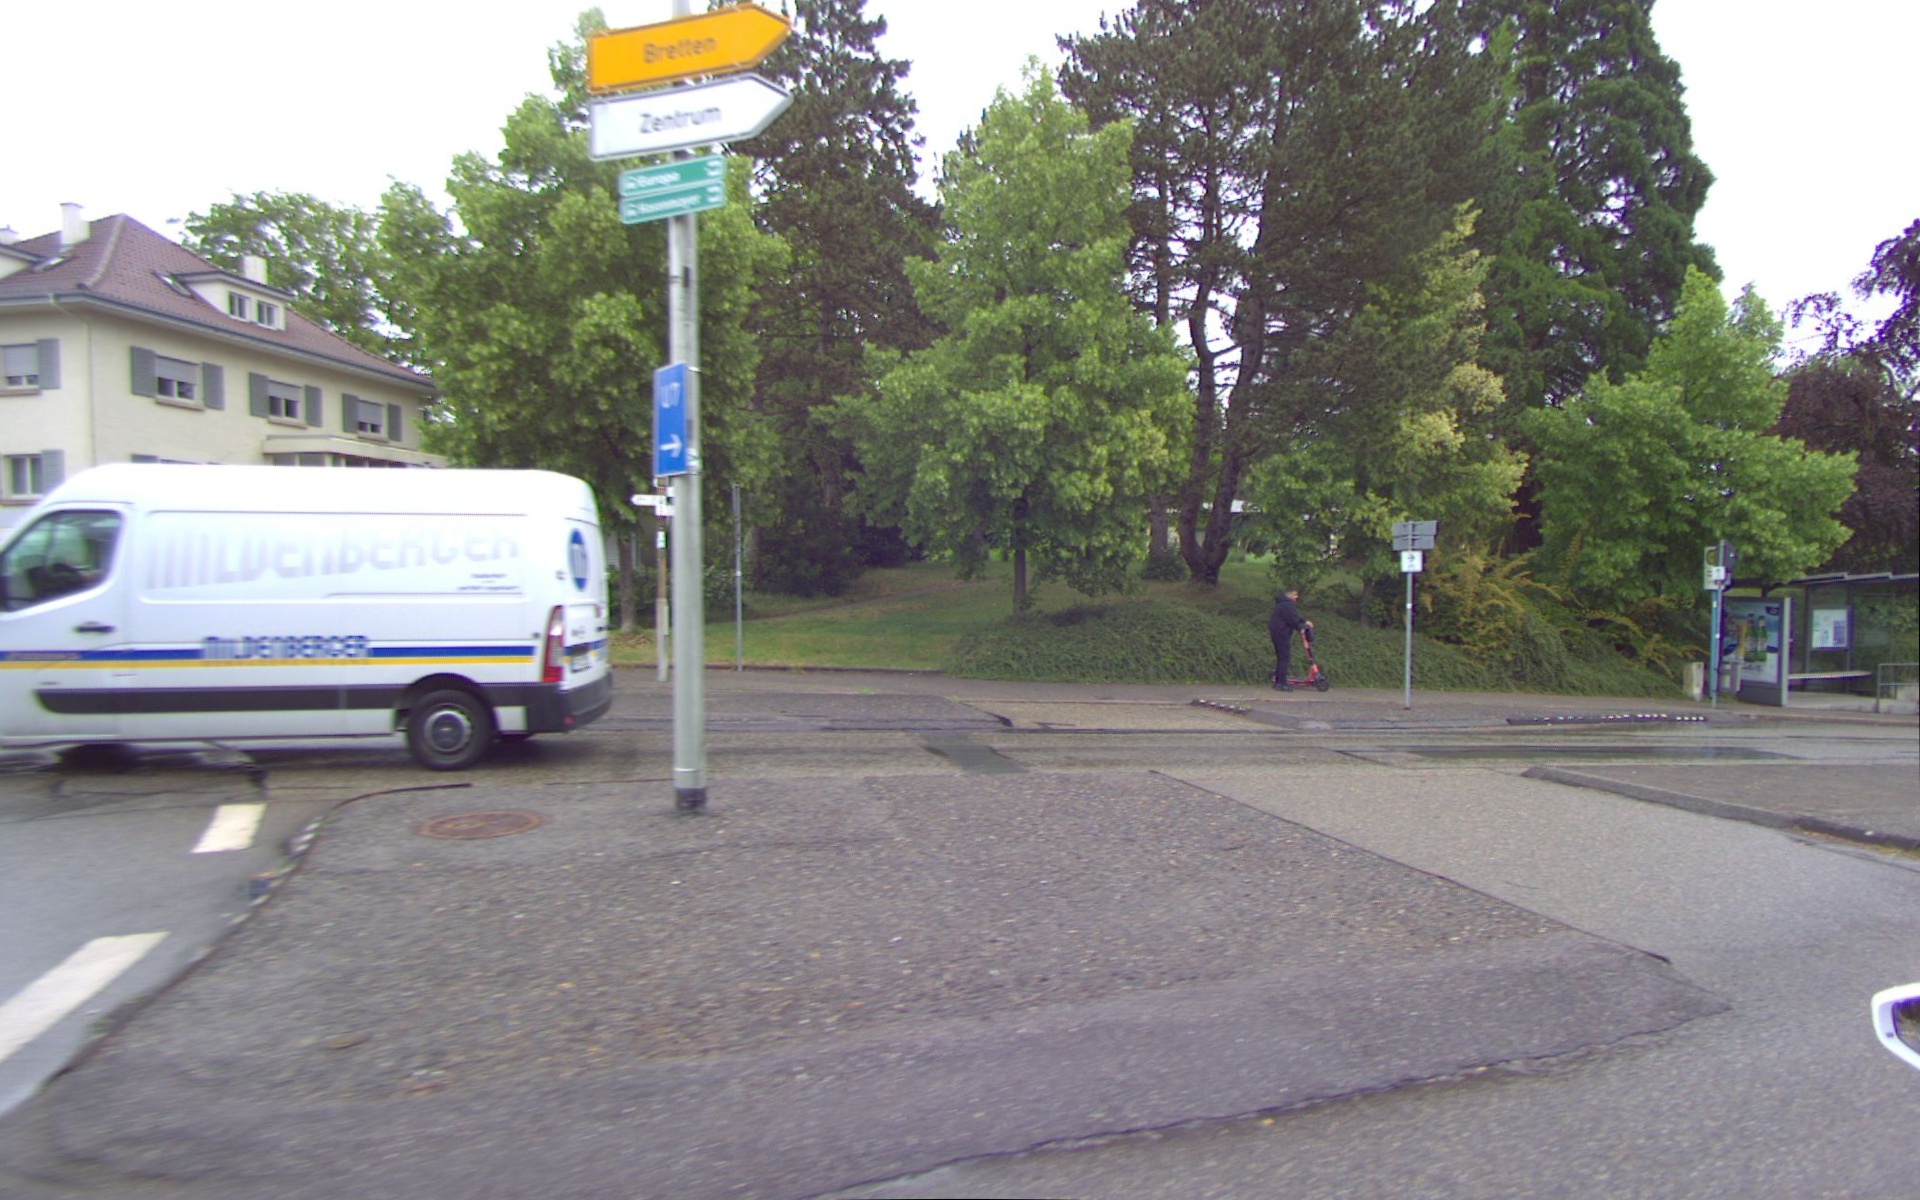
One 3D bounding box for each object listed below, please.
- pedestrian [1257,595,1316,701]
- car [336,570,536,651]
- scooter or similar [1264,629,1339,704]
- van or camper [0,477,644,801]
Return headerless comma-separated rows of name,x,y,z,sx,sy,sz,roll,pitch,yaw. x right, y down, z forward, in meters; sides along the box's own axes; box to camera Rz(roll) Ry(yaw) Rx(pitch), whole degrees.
pedestrian,5.631,0.805,17.318,0.728,1.748,0.813,1,0,37
car,-10.878,0.186,21.199,1.781,1.506,3.833,-2,0,9
scooter or similar,6.010,1.155,17.652,1.296,1.267,0.439,1,0,-25
van or camper,-5.839,0.302,8.796,5.566,2.410,2.197,1,0,-9
